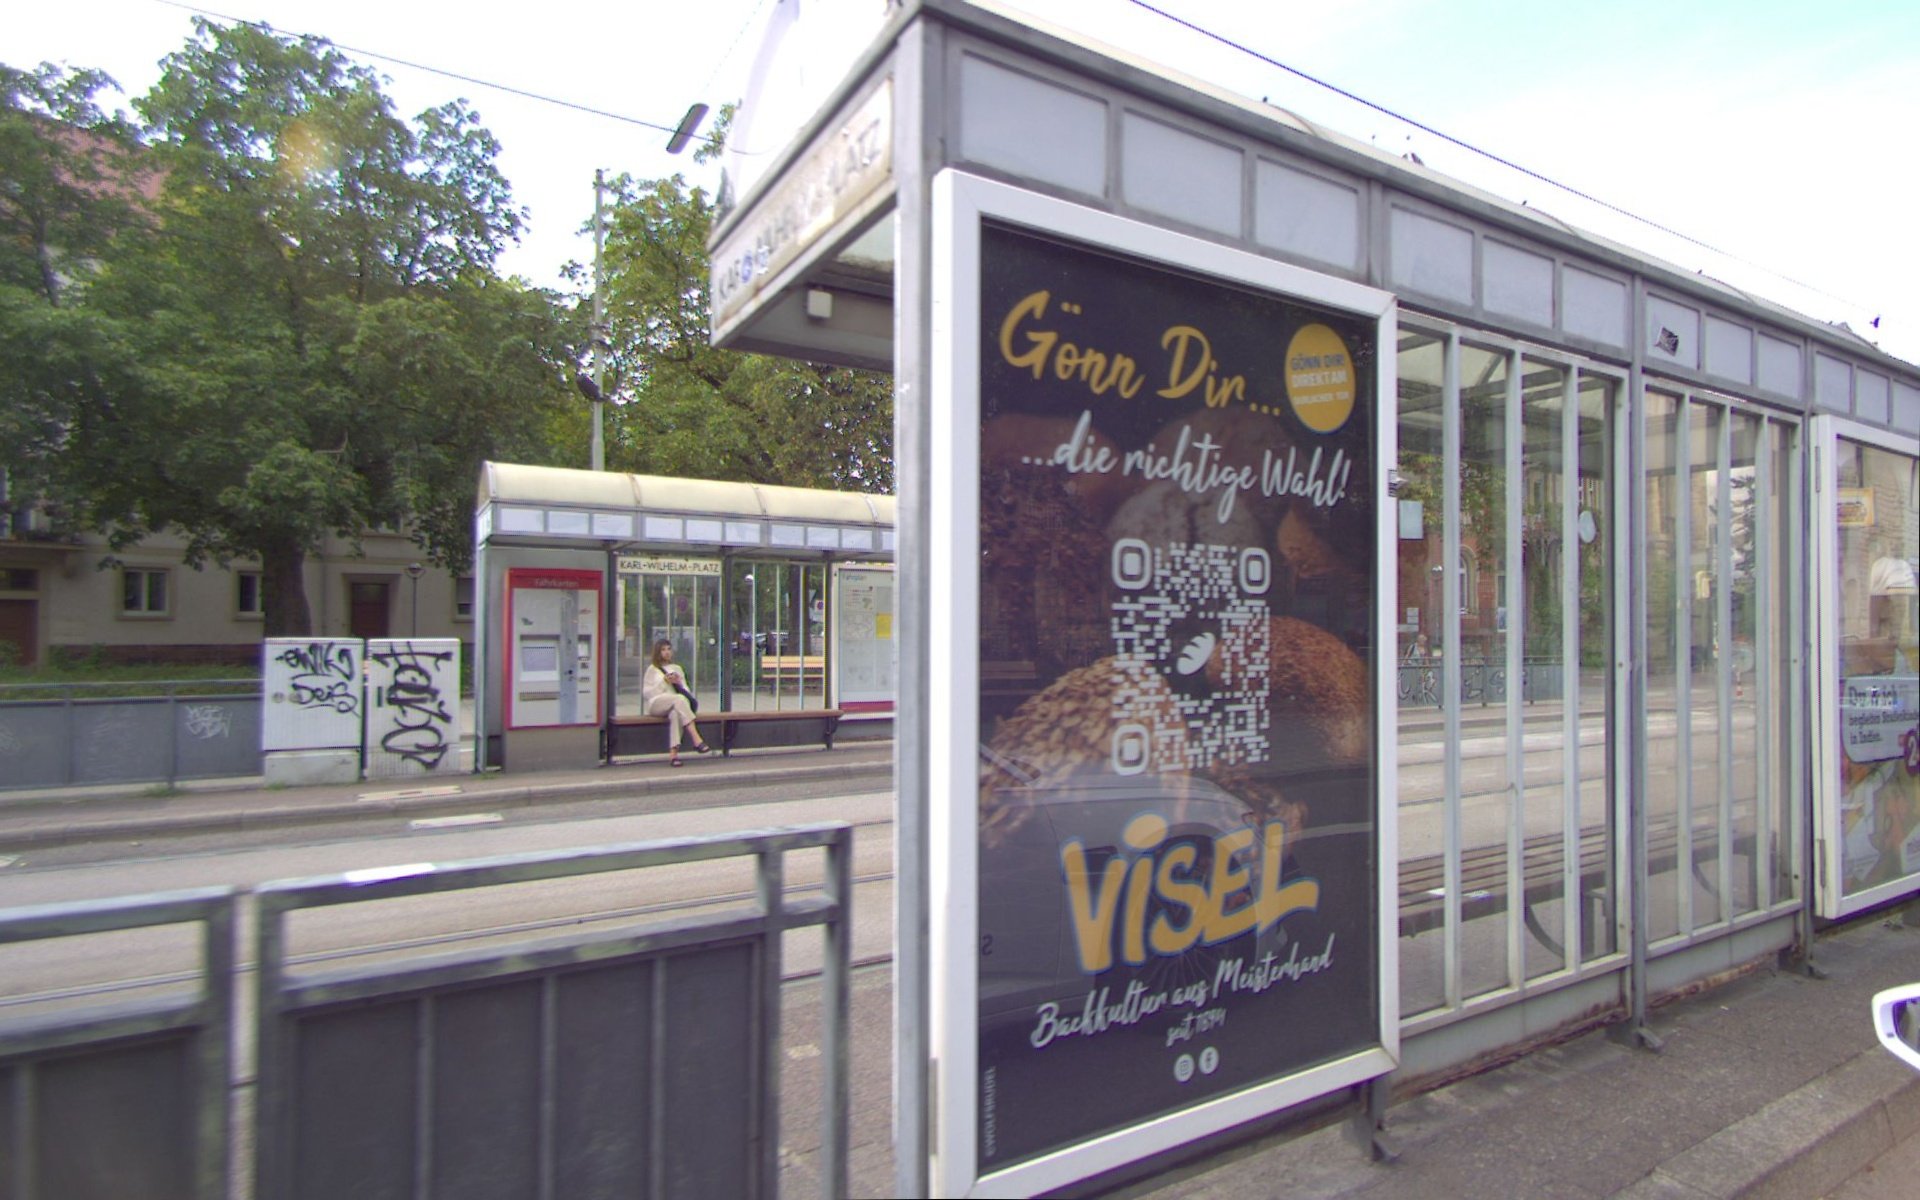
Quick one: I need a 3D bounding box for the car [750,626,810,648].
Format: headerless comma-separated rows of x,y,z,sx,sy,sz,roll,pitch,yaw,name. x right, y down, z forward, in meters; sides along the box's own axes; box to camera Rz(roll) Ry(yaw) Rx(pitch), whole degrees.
-12.105,2.490,67.788,3.927,1.414,1.813,0,-2,-9,car

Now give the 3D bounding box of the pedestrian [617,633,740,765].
-3.009,1.011,10.709,0.976,1.311,1.051,1,-2,-35,pedestrian

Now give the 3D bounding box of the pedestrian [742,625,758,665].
-9.466,2.018,45.306,0.671,1.777,0.731,0,-1,-9,pedestrian

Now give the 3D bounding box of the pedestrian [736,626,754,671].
-8.525,1.914,39.859,0.720,1.777,0.752,0,-1,-12,pedestrian

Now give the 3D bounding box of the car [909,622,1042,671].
0.581,1.549,34.306,4.259,1.599,2.214,0,-1,9,car

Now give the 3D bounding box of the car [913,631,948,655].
-1.834,2.585,61.466,1.782,1.413,3.996,0,-2,-7,car

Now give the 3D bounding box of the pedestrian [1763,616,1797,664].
31.419,1.542,38.491,0.825,1.807,0.727,1,-2,-30,pedestrian

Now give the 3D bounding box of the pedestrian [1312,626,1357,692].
9.892,1.542,26.532,0.725,1.725,0.827,1,-2,-35,pedestrian

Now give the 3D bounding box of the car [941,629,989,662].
0.207,2.170,48.412,1.782,1.497,3.996,0,-2,-7,car

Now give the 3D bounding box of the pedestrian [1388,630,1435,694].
11.908,1.613,26.496,0.737,1.654,0.863,1,-2,-35,pedestrian
